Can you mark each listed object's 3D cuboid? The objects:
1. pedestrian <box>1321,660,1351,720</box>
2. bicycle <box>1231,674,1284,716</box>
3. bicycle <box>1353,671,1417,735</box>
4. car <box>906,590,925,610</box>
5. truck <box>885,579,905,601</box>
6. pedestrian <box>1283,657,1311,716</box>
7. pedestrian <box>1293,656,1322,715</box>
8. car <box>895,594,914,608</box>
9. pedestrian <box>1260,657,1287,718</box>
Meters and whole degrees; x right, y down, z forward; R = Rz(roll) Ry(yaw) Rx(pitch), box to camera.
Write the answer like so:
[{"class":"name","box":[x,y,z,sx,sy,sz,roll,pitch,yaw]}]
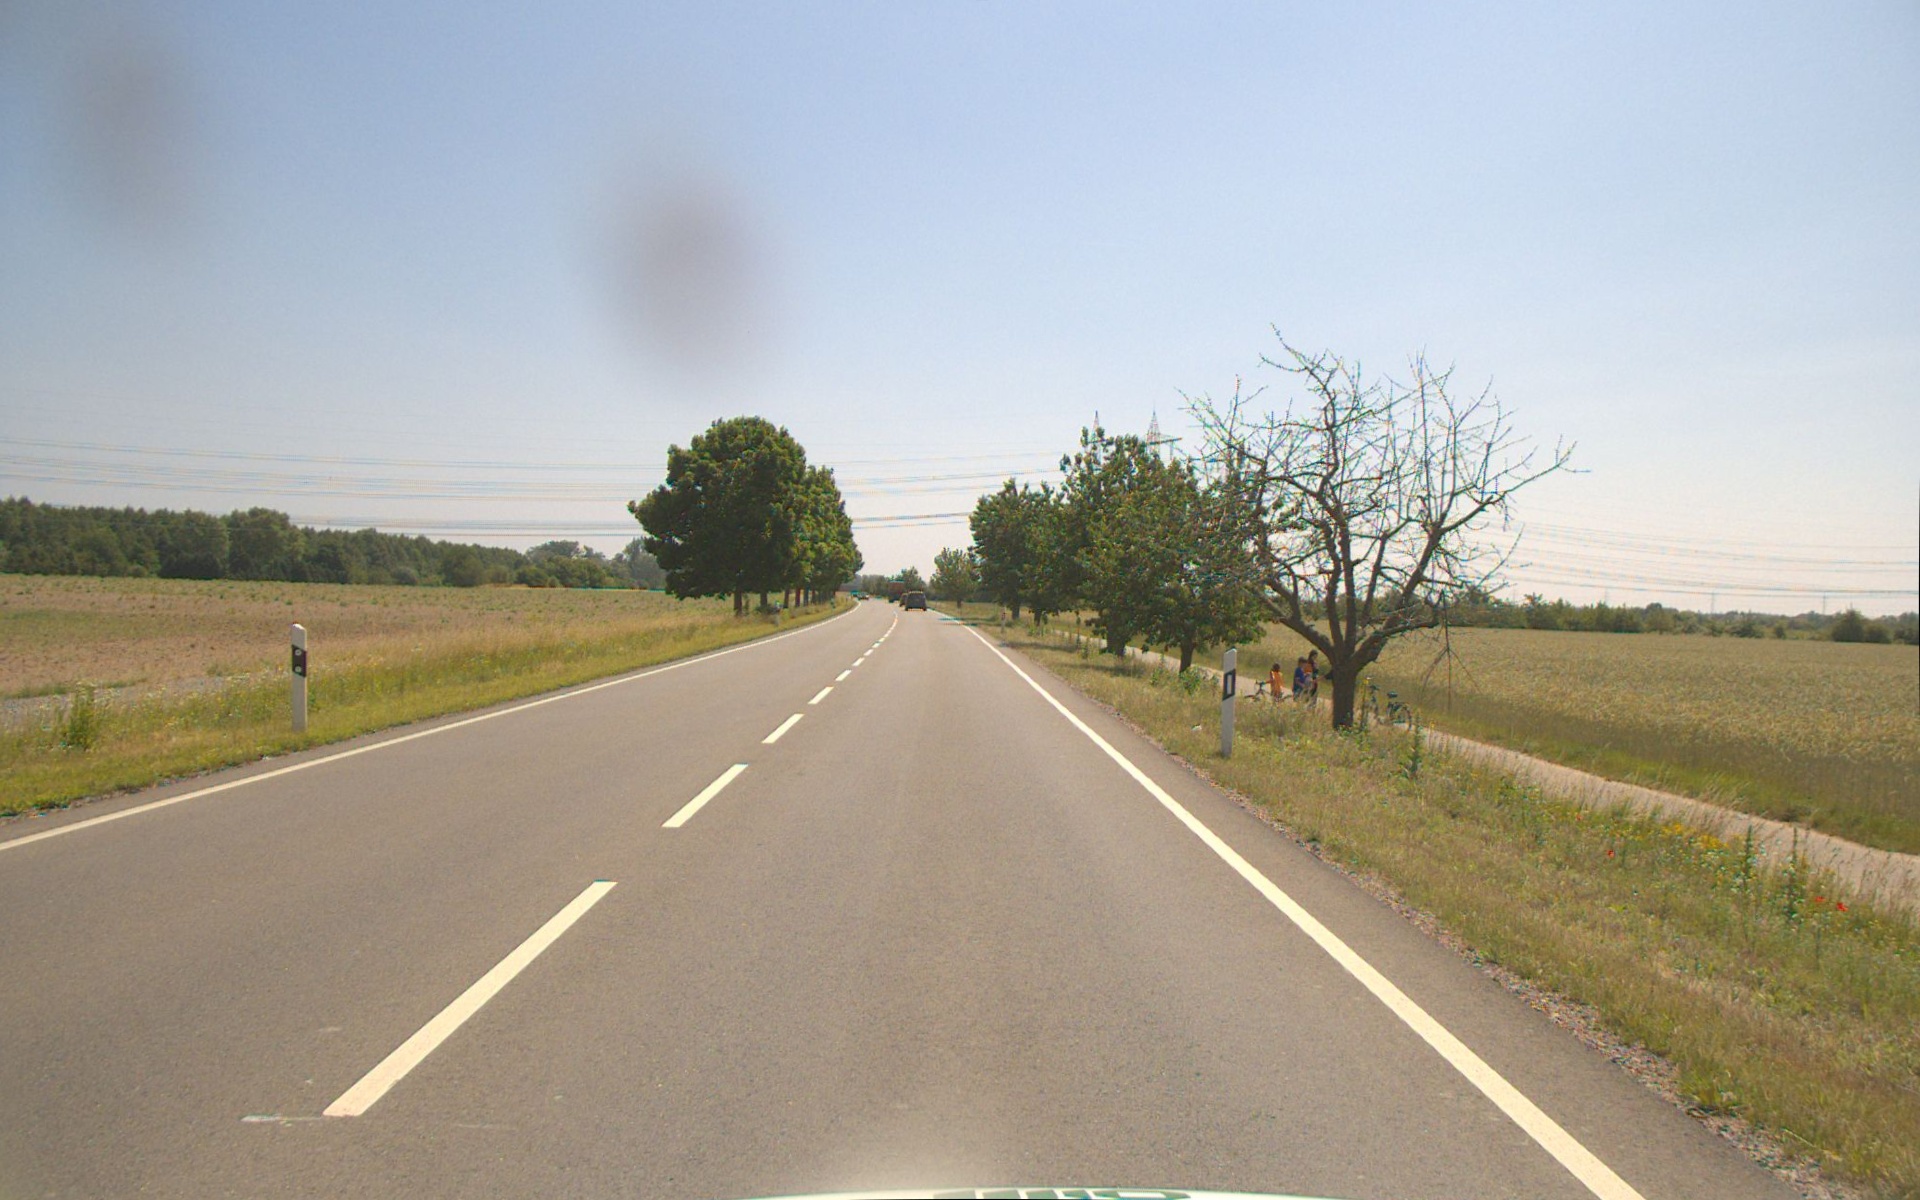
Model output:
[{"class":"pedestrian","box":[8.490,2.034,37.327,0.479,1.318,0.439,1,0,44]},{"class":"bicycle","box":[6.774,2.162,37.703,1.097,0.875,0.440,2,0,36]},{"class":"bicycle","box":[8.792,2.128,34.276,0.467,1.186,1.675,2,0,-16]},{"class":"car","box":[-3.964,-0.018,146.555,1.680,1.723,3.987,1,0,-2]},{"class":"truck","box":[-9.882,-1.592,251.056,2.326,3.194,8.734,2,0,-7]},{"class":"pedestrian","box":[7.698,1.973,37.821,0.477,1.318,0.441,1,0,32]},{"class":"pedestrian","box":[8.042,1.969,38.254,0.478,1.337,0.439,1,0,41]},{"class":"car","box":[-6.254,0.070,186.519,1.815,1.549,3.995,1,0,-6]},{"class":"pedestrian","box":[7.042,1.960,37.139,0.432,1.318,0.486,1,0,-8]}]
